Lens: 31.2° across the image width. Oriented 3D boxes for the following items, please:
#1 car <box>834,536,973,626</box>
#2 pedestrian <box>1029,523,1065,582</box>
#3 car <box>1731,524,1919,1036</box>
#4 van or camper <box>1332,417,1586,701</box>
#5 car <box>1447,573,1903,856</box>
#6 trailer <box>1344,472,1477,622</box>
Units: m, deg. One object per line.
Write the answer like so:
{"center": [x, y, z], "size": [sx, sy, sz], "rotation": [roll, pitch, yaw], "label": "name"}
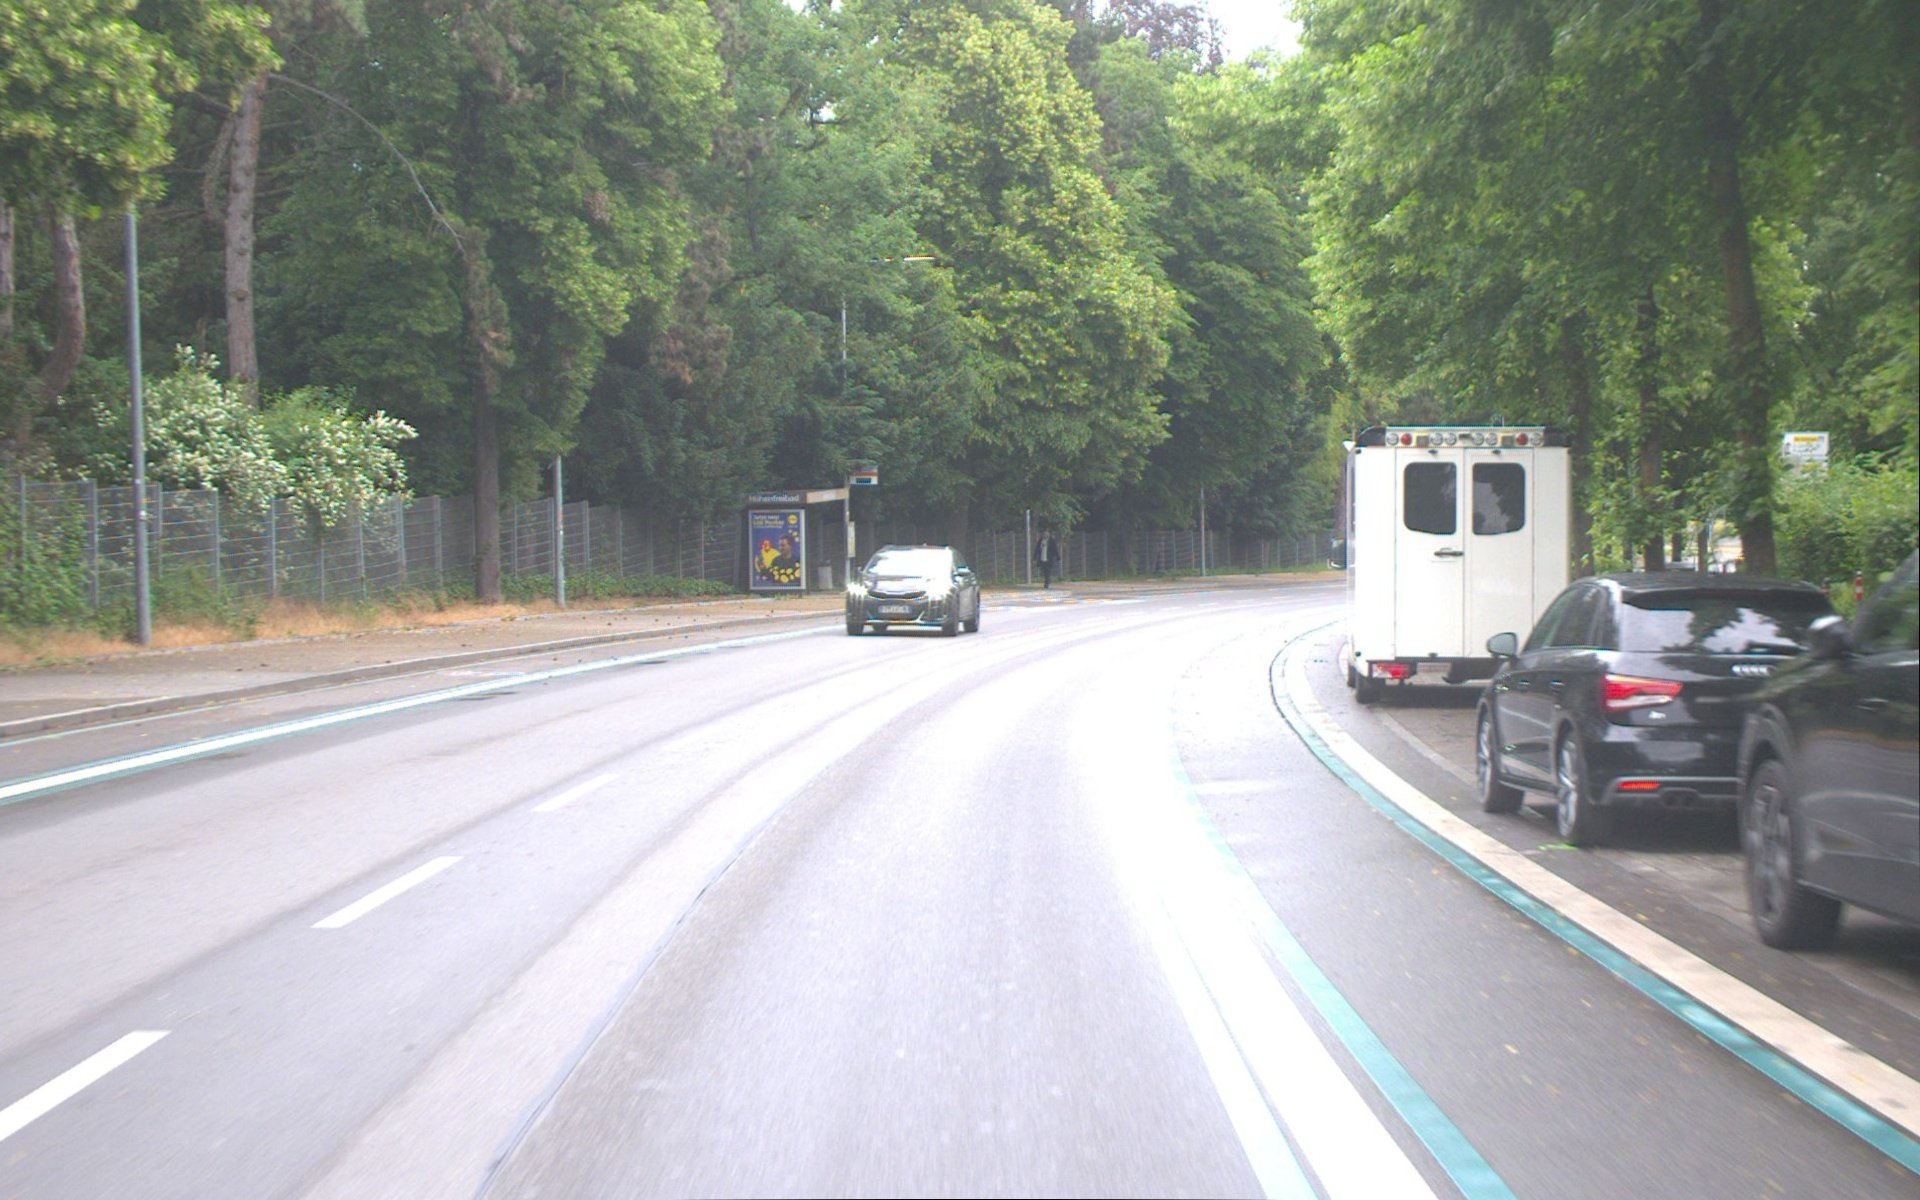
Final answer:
{"center": [-0.903, -0.341, 57.451], "size": [1.760, 1.432, 4.150], "rotation": [0, 1, 7], "label": "car"}
{"center": [2.553, -1.398, 100.948], "size": [0.887, 1.727, 1.146], "rotation": [1, 1, 9], "label": "pedestrian"}
{"center": [4.065, 0.576, 11.303], "size": [1.993, 1.639, 4.348], "rotation": [0, 0, -1], "label": "car"}
{"center": [5.059, -0.457, 35.691], "size": [2.317, 2.655, 6.381], "rotation": [1, 1, 6], "label": "van or camper"}
{"center": [3.754, 0.544, 18.686], "size": [1.678, 1.371, 4.000], "rotation": [0, 0, 1], "label": "car"}
{"center": [8.501, -1.007, 64.522], "size": [2.317, 2.663, 5.374], "rotation": [1, 1, 9], "label": "trailer"}
